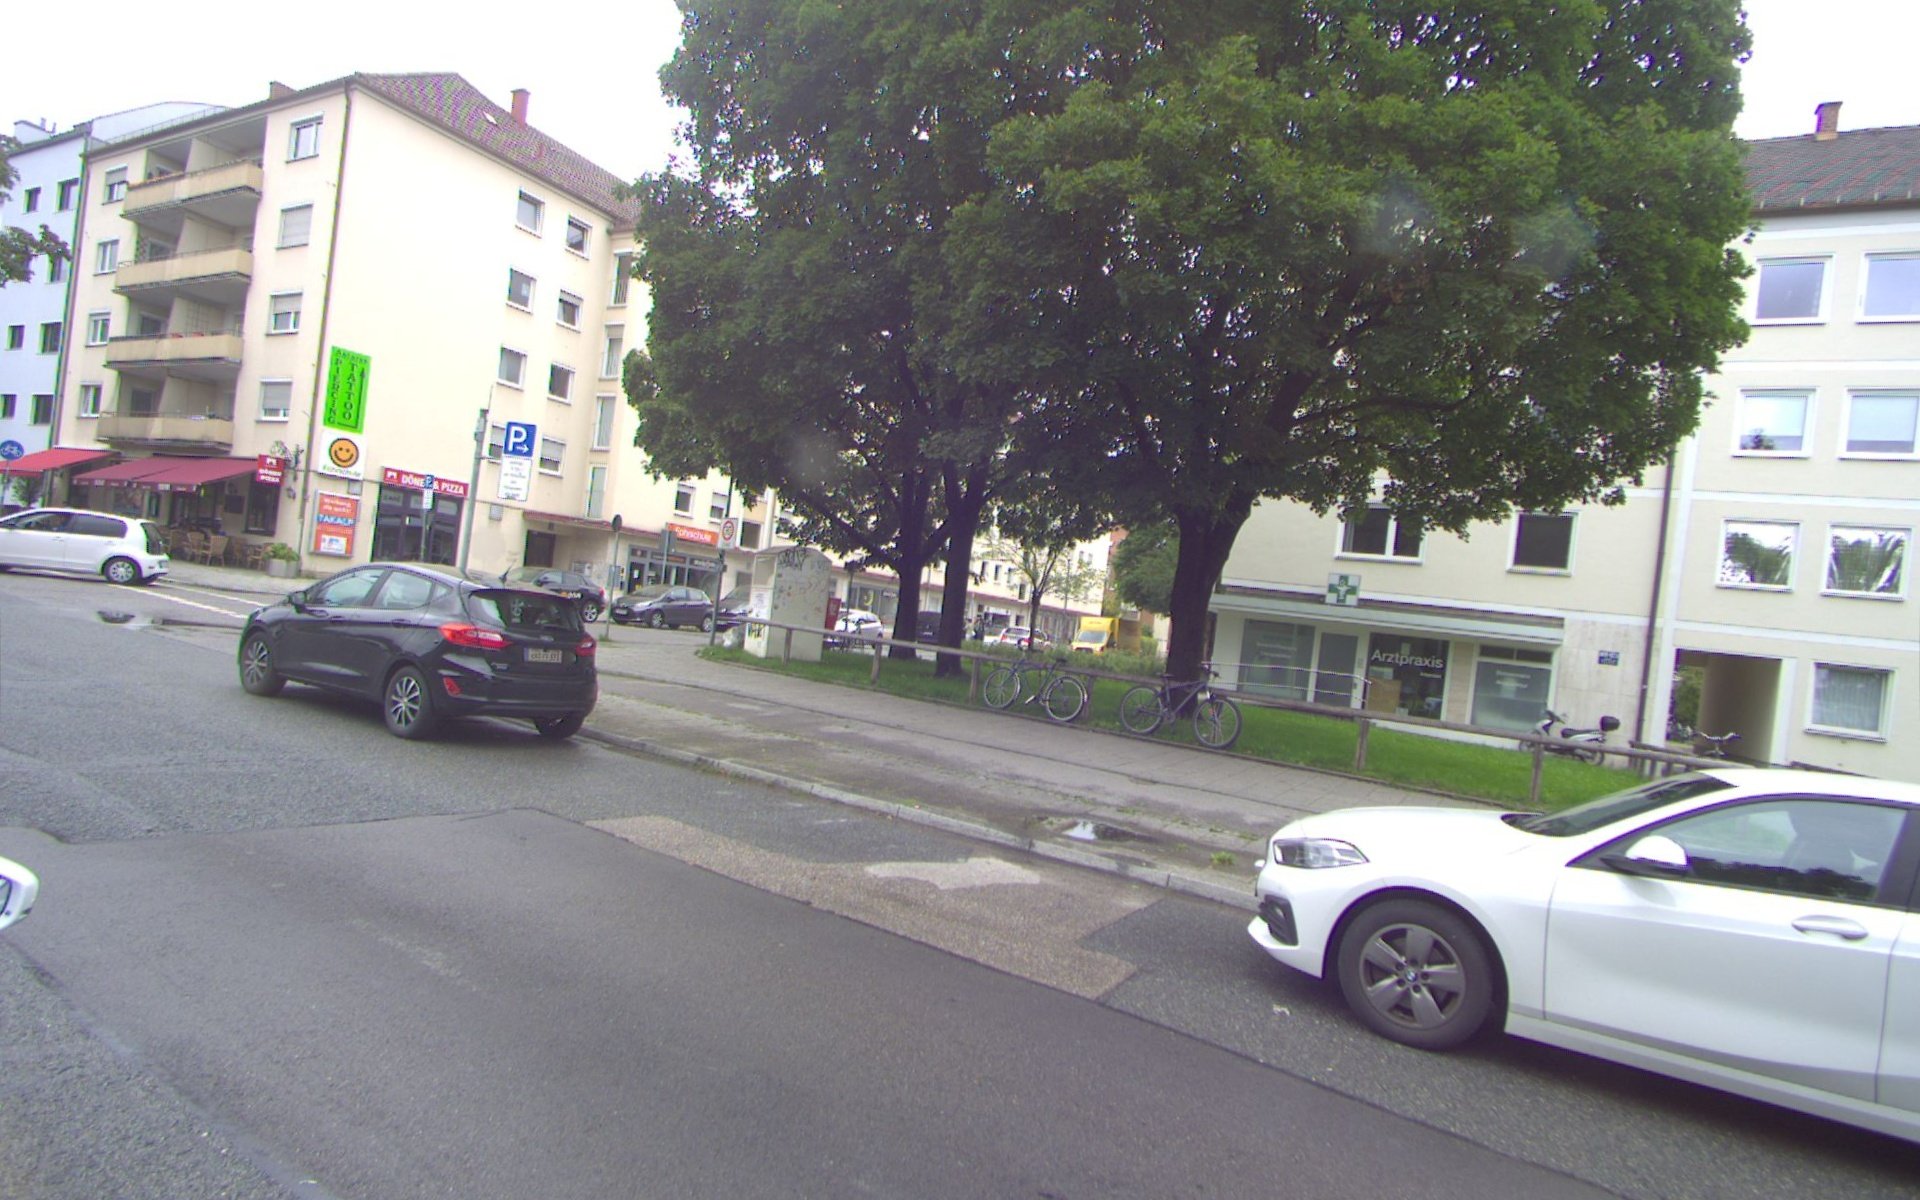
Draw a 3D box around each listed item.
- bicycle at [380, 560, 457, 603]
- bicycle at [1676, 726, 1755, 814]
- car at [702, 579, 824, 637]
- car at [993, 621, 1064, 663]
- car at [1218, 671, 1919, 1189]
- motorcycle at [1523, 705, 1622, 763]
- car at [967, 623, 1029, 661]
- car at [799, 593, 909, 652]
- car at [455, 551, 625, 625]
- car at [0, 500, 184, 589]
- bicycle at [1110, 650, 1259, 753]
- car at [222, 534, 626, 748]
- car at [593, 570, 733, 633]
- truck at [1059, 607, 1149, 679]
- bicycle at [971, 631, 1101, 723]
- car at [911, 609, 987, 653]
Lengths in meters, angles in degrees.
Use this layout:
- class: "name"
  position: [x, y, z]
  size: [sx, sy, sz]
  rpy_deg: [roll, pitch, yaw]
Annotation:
- class: "bicycle"
  position: [-15.423, -0.517, 28.697]
  size: [0.548, 0.968, 1.852]
  rpy_deg: [7, -2, 30]
- class: "bicycle"
  position: [9.618, 2.132, 12.860]
  size: [0.548, 0.950, 1.881]
  rpy_deg: [7, -2, 32]
- class: "car"
  position: [-7.518, 0.358, 38.906]
  size: [1.840, 1.794, 4.743]
  rpy_deg: [7, 0, 29]
- class: "car"
  position: [3.624, 2.207, 52.244]
  size: [1.839, 1.680, 4.404]
  rpy_deg: [8, -1, 28]
- class: "car"
  position: [3.486, 1.391, 4.524]
  size: [4.067, 1.481, 1.687]
  rpy_deg: [7, -3, 30]
- class: "motorcycle"
  position: [14.330, 3.124, 23.581]
  size: [1.875, 1.035, 0.605]
  rpy_deg: [6, -1, 32]
- class: "car"
  position: [2.236, 2.448, 57.740]
  size: [1.839, 1.679, 4.089]
  rpy_deg: [7, -3, 27]
- class: "car"
  position: [-4.049, 0.937, 39.300]
  size: [1.839, 1.679, 4.741]
  rpy_deg: [7, -3, 27]
- class: "car"
  position: [-12.303, -0.304, 29.801]
  size: [1.838, 1.681, 4.403]
  rpy_deg: [7, 0, 26]
- class: "car"
  position: [-18.815, -1.202, 21.158]
  size: [3.516, 1.434, 1.860]
  rpy_deg: [8, 0, -26]
- class: "bicycle"
  position: [3.045, 1.366, 13.743]
  size: [1.852, 1.116, 0.382]
  rpy_deg: [7, -1, 32]
- class: "car"
  position: [-5.150, 0.355, 9.587]
  size: [3.612, 1.482, 1.621]
  rpy_deg: [7, -3, 31]
- class: "car"
  position: [-9.932, 0.102, 33.953]
  size: [1.839, 1.681, 4.402]
  rpy_deg: [7, 0, 28]
- class: "truck"
  position: [7.956, 2.442, 54.818]
  size: [2.318, 3.282, 7.427]
  rpy_deg: [7, -2, 26]
- class: "bicycle"
  position: [1.109, 1.127, 14.903]
  size: [1.823, 1.118, 0.390]
  rpy_deg: [7, -1, 32]
- class: "car"
  position: [-0.505, 1.657, 52.328]
  size: [1.839, 1.679, 4.751]
  rpy_deg: [7, -3, 27]
